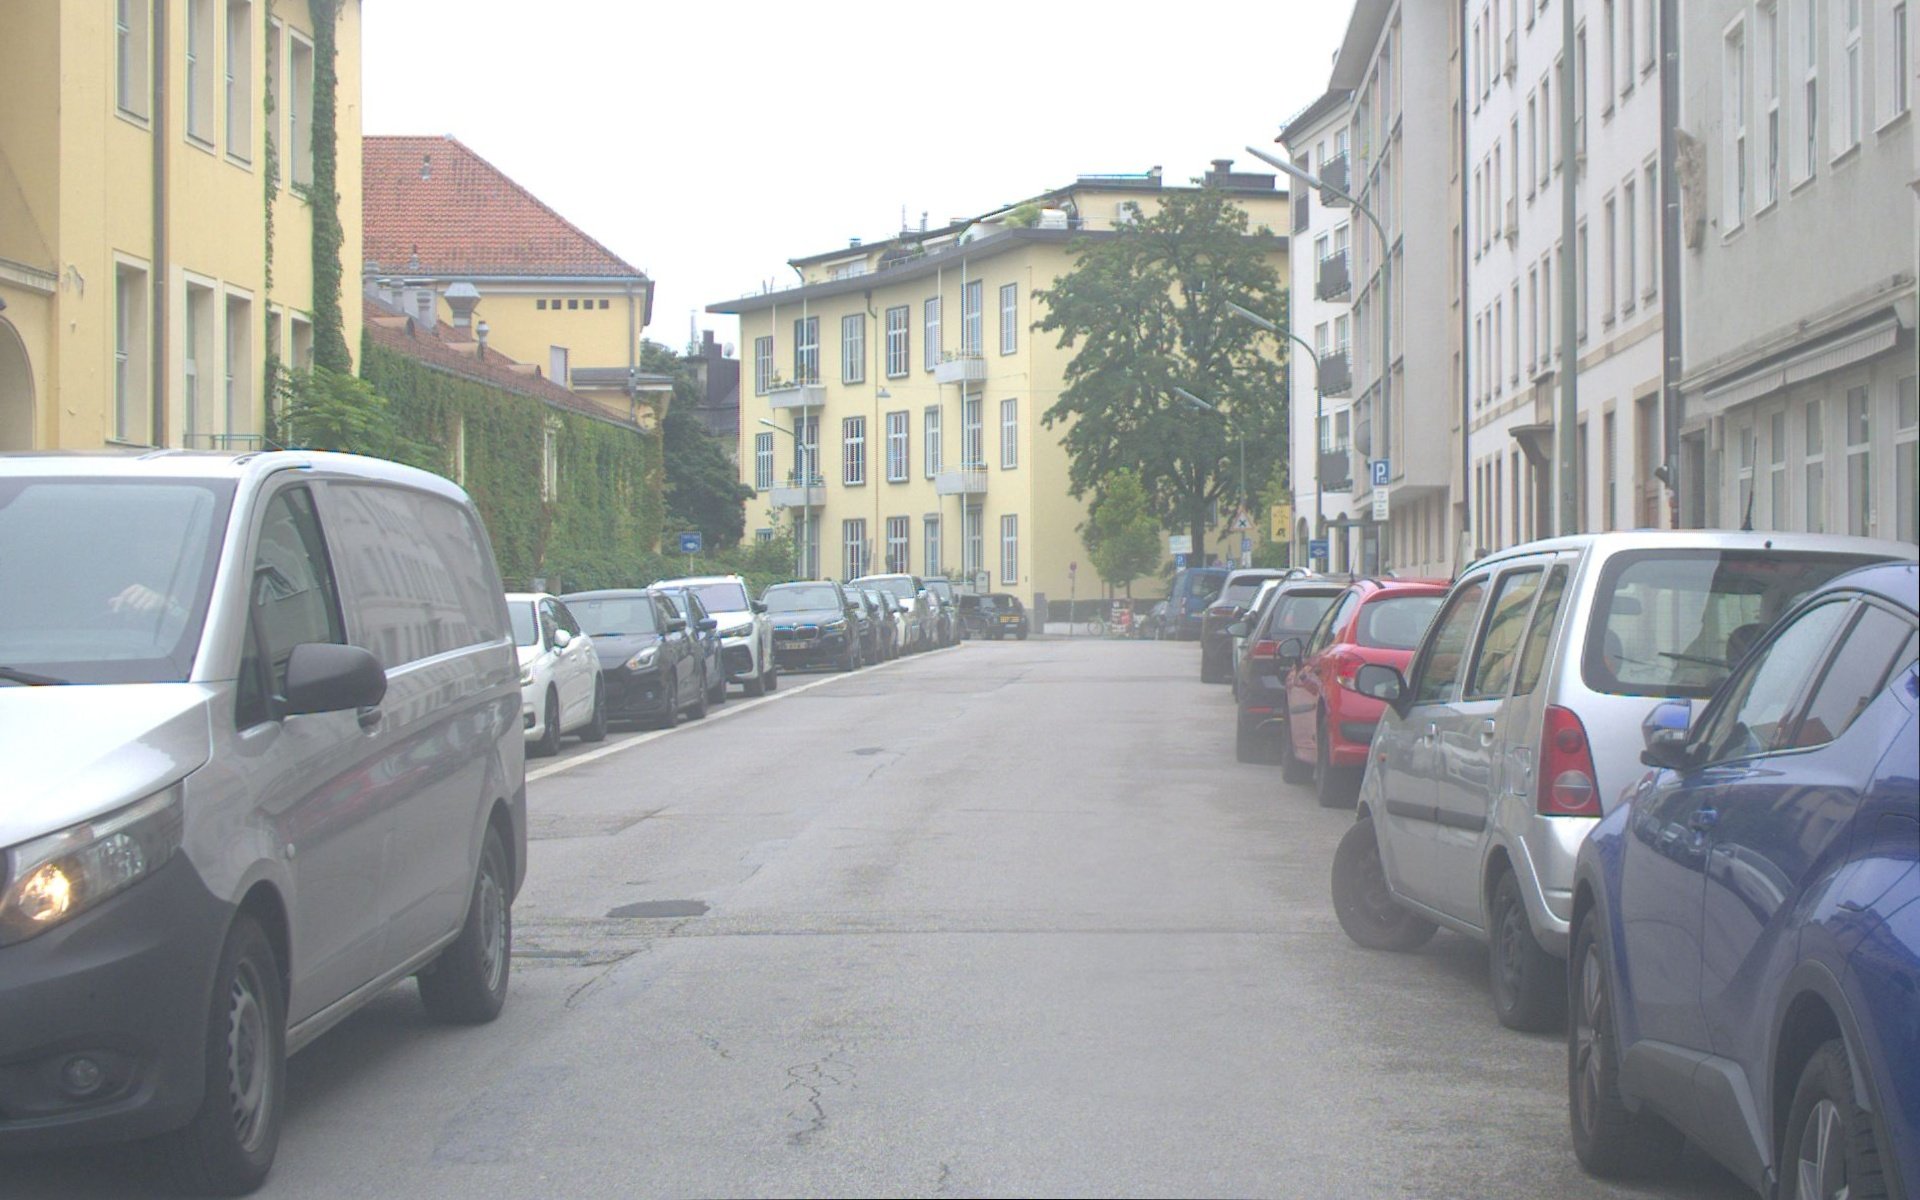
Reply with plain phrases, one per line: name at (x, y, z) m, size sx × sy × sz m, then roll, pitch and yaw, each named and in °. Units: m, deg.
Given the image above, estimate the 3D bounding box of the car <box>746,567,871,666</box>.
car at (-2.626, 0.271, 60.547) m, size 1.789 × 1.581 × 4.818 m, roll -3°, pitch 0°, yaw 1°

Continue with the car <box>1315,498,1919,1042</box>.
car at (2.482, 0.519, 12.542) m, size 1.681 × 1.668 × 3.805 m, roll 1°, pitch 0°, yaw -4°

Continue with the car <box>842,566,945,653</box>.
car at (-1.541, 0.215, 81.158) m, size 1.887 × 1.883 × 4.773 m, roll -3°, pitch 0°, yaw 4°

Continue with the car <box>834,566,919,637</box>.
car at (-1.813, 0.032, 75.710) m, size 1.591 × 1.436 × 4.018 m, roll -3°, pitch 0°, yaw 2°

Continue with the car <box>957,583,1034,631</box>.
car at (1.467, 0.267, 143.599) m, size 1.762 × 1.868 × 4.380 m, roll 4°, pitch -1°, yaw -18°

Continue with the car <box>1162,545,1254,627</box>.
car at (7.654, -0.413, 106.590) m, size 2.079 × 2.226 × 5.244 m, roll 4°, pitch -2°, yaw -3°

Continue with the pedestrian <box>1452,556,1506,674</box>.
pedestrian at (7.844, 0.234, 52.011) m, size 0.723 × 1.757 × 0.904 m, roll 0°, pitch -3°, yaw 4°

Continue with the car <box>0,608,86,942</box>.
car at (-4.955, 0.796, 13.745) m, size 1.749 × 1.400 × 4.355 m, roll -3°, pitch 0°, yaw 0°

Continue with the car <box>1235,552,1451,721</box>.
car at (3.828, 0.323, 34.965) m, size 1.706 × 1.587 × 4.362 m, roll 1°, pitch 1°, yaw 0°

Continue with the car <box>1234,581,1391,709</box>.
car at (4.164, 0.502, 41.151) m, size 1.673 × 1.424 × 4.529 m, roll 1°, pitch 0°, yaw 4°

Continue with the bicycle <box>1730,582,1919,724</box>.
bicycle at (6.946, 0.411, 27.404) m, size 1.842 × 1.064 × 0.515 m, roll -2°, pitch 1°, yaw -39°

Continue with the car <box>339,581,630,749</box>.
car at (-4.282, 0.553, 31.664) m, size 1.785 × 1.427 × 4.651 m, roll 0°, pitch 0°, yaw 3°

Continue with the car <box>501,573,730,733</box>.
car at (-3.627, 0.532, 36.865) m, size 1.699 × 1.492 × 4.148 m, roll -4°, pitch 0°, yaw 3°

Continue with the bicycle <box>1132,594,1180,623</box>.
bicycle at (8.145, 0.339, 142.924) m, size 1.923 × 1.197 × 0.595 m, roll 0°, pitch 0°, yaw 17°

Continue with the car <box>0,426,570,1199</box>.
car at (-2.541, 0.568, 9.912) m, size 1.915 × 1.842 × 5.320 m, roll -2°, pitch 0°, yaw 3°

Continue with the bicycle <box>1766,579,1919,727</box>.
bicycle at (6.976, 0.398, 26.804) m, size 0.621 × 1.086 × 1.810 m, roll -1°, pitch 1°, yaw 38°

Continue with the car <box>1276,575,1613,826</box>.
car at (3.179, 0.605, 23.279) m, size 1.687 × 1.495 × 4.147 m, roll 1°, pitch 1°, yaw 0°

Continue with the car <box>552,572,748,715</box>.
car at (-3.726, 0.501, 41.990) m, size 1.703 × 1.497 × 4.495 m, roll -6°, pitch 0°, yaw 2°

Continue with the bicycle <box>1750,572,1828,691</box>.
bicycle at (8.303, 0.300, 34.480) m, size 0.384 × 1.154 × 1.949 m, roll -1°, pitch 1°, yaw 3°

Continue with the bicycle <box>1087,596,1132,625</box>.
bicycle at (6.251, 0.435, 144.250) m, size 1.926 × 1.197 × 0.594 m, roll 0°, pitch 0°, yaw 40°

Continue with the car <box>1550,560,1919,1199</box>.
car at (2.388, 0.663, 7.249) m, size 1.742 × 1.489 × 4.547 m, roll 0°, pitch 0°, yaw 3°

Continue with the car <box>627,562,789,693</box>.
car at (-3.387, 0.351, 46.944) m, size 1.745 × 1.628 × 4.856 m, roll -2°, pitch 0°, yaw 1°

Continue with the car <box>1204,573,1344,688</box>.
car at (4.395, 0.402, 48.393) m, size 1.840 × 1.517 × 4.708 m, roll 1°, pitch 0°, yaw 5°

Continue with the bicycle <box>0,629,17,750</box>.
bicycle at (-8.833, 0.794, 29.834) m, size 0.537 × 1.059 × 1.639 m, roll 0°, pitch 0°, yaw 13°

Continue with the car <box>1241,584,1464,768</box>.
car at (3.161, 0.570, 28.329) m, size 1.688 × 1.397 × 4.363 m, roll 0°, pitch 0°, yaw 5°
